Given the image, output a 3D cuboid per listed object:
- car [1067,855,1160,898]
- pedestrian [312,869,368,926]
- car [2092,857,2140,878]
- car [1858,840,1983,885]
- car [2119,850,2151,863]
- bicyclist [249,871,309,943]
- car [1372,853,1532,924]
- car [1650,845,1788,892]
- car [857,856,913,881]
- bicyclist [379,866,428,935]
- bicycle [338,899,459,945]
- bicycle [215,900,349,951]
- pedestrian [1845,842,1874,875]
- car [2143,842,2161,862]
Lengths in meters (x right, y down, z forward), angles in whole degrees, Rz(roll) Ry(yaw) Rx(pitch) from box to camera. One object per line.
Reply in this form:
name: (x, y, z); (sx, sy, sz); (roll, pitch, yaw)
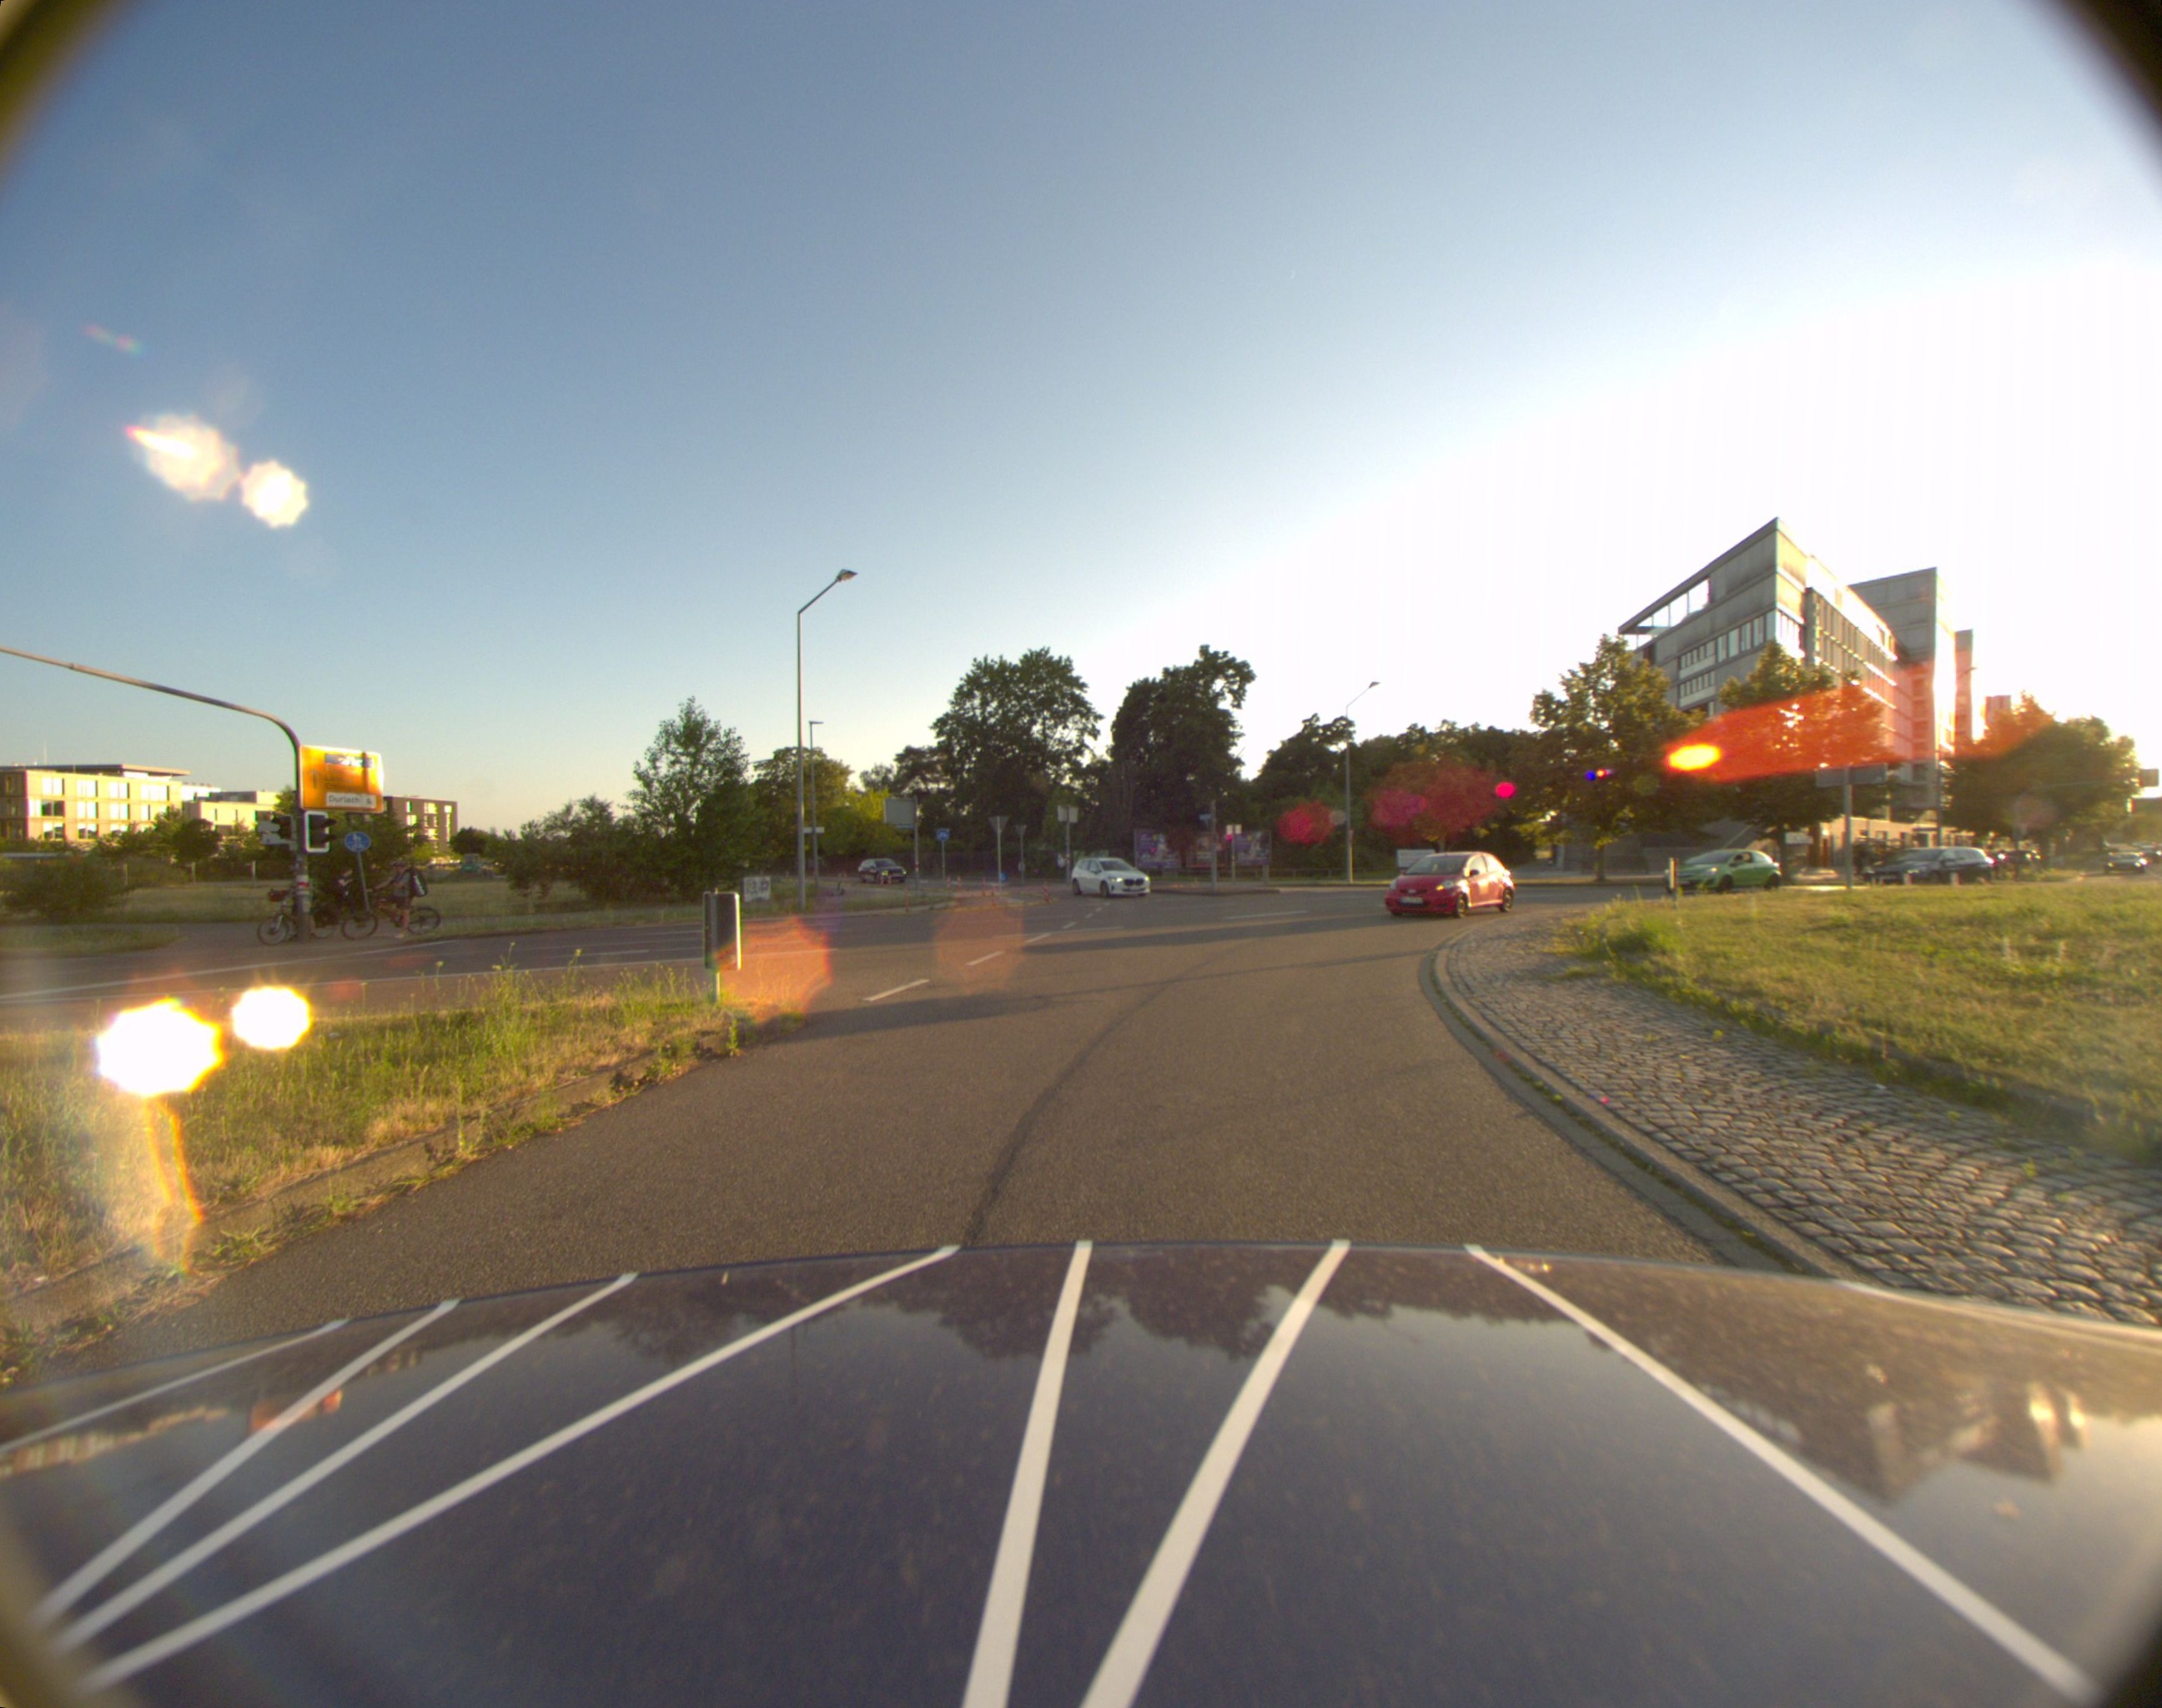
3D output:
car: (1.253, 0.864, 31.091); (2.003, 1.597, 4.189); (-1, 0, -27)
pedestrian: (-21.426, 1.236, 21.991); (0.993, 1.581, 0.924); (-1, 1, -35)
car: (73.848, 0.915, 54.200); (4.133, 1.371, 1.747); (-1, 1, -33)
car: (32.169, 0.280, 29.132); (4.334, 1.569, 1.731); (-1, 1, -20)
car: (124.962, 0.271, 90.109); (4.008, 1.444, 1.994); (-1, 1, -39)
bicyclist: (-19.326, 1.253, 18.322); (0.724, 1.680, 0.690); (-1, 1, 12)
car: (8.760, 0.726, 17.814); (4.007, 1.412, 1.685); (-1, 1, -36)
car: (21.095, 0.458, 25.121); (4.003, 1.412, 1.687); (-1, 1, -19)
car: (-13.312, 0.940, 51.407); (2.004, 1.588, 4.302); (-1, 1, -40)
bicyclist: (-17.141, 1.161, 19.229); (0.723, 1.680, 0.690); (-1, 1, 28)
bicycle: (-17.157, 1.676, 19.169); (0.708, 0.957, 2.149); (-1, 0, 26)
bicycle: (-19.268, 1.694, 18.409); (0.708, 0.958, 2.109); (-1, 2, 14)
pedestrian: (48.420, 0.275, 47.251); (0.776, 2.002, 0.998); (-2, 1, -11)
car: (104.709, -0.200, 73.636); (5.316, 1.801, 1.995); (0, -2, -36)
